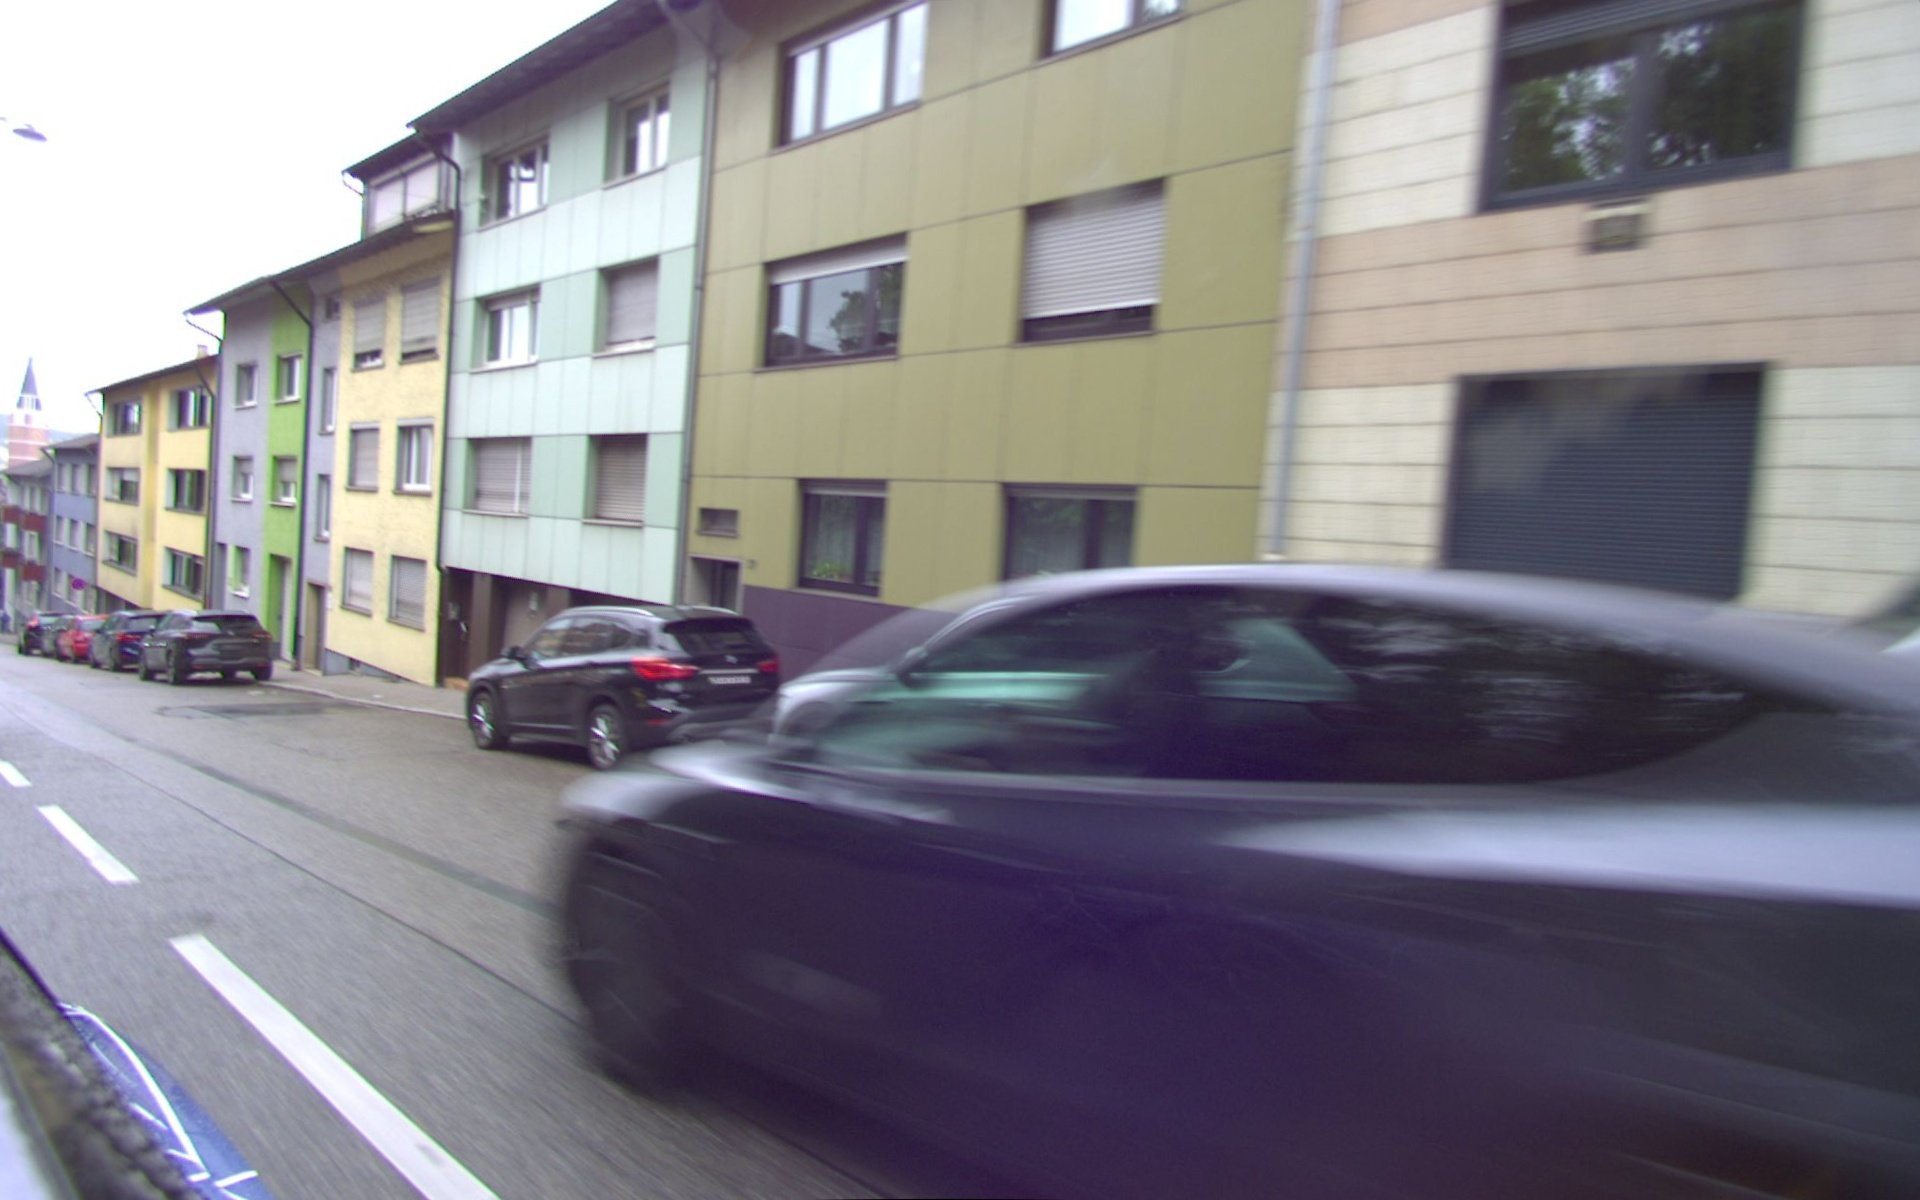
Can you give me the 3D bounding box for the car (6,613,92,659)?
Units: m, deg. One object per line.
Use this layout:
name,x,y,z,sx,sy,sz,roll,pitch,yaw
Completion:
car,-34.960,1.352,38.803,4.326,1.669,1.884,-1,-3,41

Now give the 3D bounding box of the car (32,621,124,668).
car,-31.200,1.543,35.753,3.998,1.548,1.884,-1,-3,41

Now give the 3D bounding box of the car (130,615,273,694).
car,-17.049,1.177,22.679,3.997,1.606,1.675,-1,-3,40

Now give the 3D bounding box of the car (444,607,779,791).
car,-3.909,0.927,10.936,4.381,1.627,1.396,-1,-3,41

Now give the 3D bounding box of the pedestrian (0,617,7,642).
pedestrian,-62.264,1.923,65.476,0.455,1.630,0.795,-1,-1,43

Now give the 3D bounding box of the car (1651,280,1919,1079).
car,5.283,0.274,2.736,5.441,2.570,2.095,-1,-4,41

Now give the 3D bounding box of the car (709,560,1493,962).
car,0.649,0.777,6.755,4.880,1.753,1.946,-1,-4,39

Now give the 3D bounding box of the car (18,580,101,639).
car,-42.105,0.482,47.298,5.441,2.570,2.095,-1,-4,41

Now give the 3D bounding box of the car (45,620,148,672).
car,-27.693,1.451,32.420,3.998,1.548,1.884,-1,-3,41

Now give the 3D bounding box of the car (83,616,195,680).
car,-22.448,1.267,27.625,4.053,1.606,1.666,-1,-3,41

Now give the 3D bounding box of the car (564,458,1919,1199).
car,1.080,0.686,2.467,4.496,1.637,1.916,-1,-2,41
